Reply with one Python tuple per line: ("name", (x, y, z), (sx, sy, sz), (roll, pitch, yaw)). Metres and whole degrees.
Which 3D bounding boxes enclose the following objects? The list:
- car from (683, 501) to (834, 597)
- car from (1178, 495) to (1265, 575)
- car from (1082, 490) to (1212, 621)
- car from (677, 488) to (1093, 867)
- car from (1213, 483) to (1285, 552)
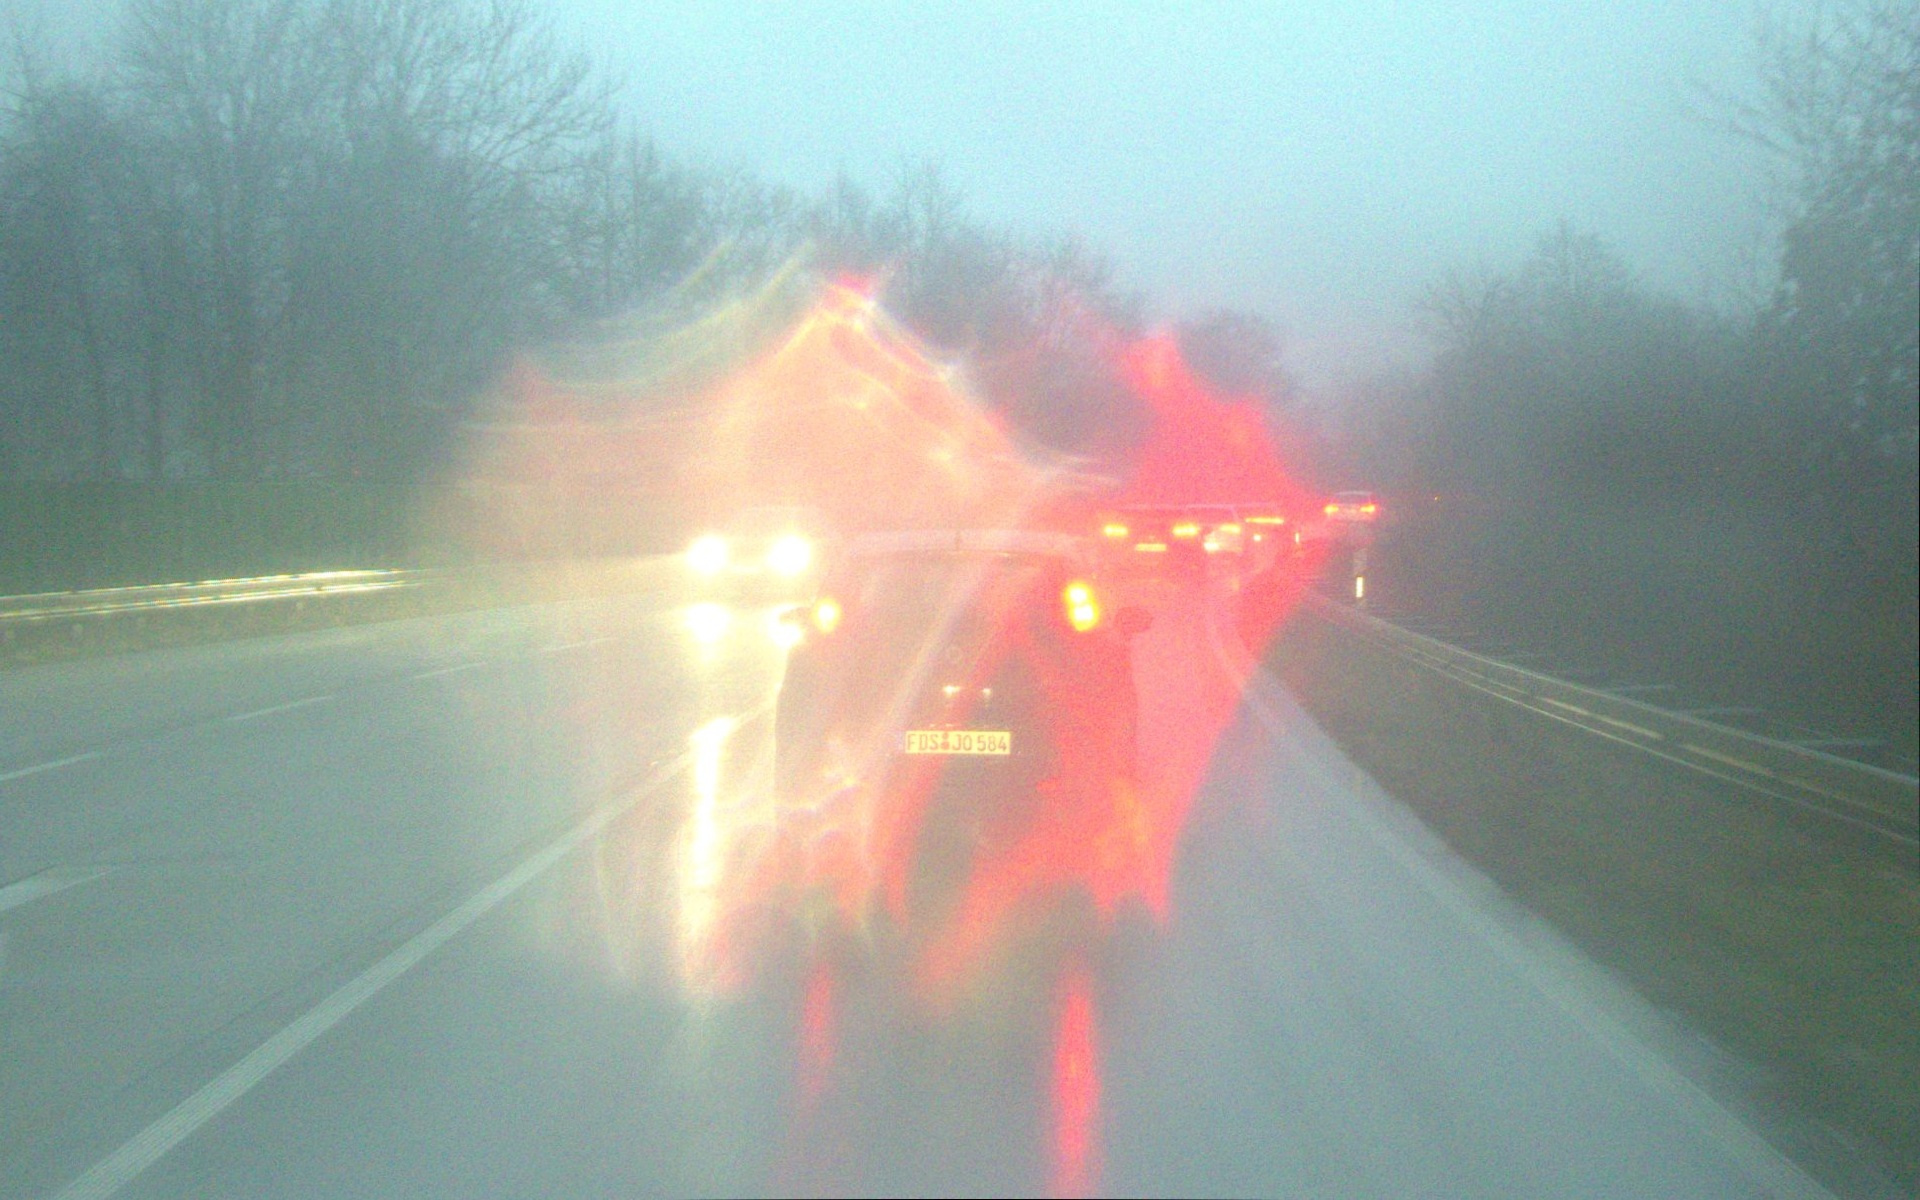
("car", (-3.266, -0.869, 56.597), (1.864, 1.496, 4.521), (0, 2, 5))
("car", (6.070, -1.537, 80.017), (1.946, 1.738, 4.000), (0, 3, 4))
("car", (3.069, -0.741, 57.123), (1.946, 2.007, 4.000), (-3, 1, 2))
("car", (-0.308, 0.278, 17.146), (1.730, 1.527, 4.043), (-4, 2, 1))
("car", (8.063, -2.325, 95.985), (1.946, 1.738, 4.000), (0, 4, 5))
